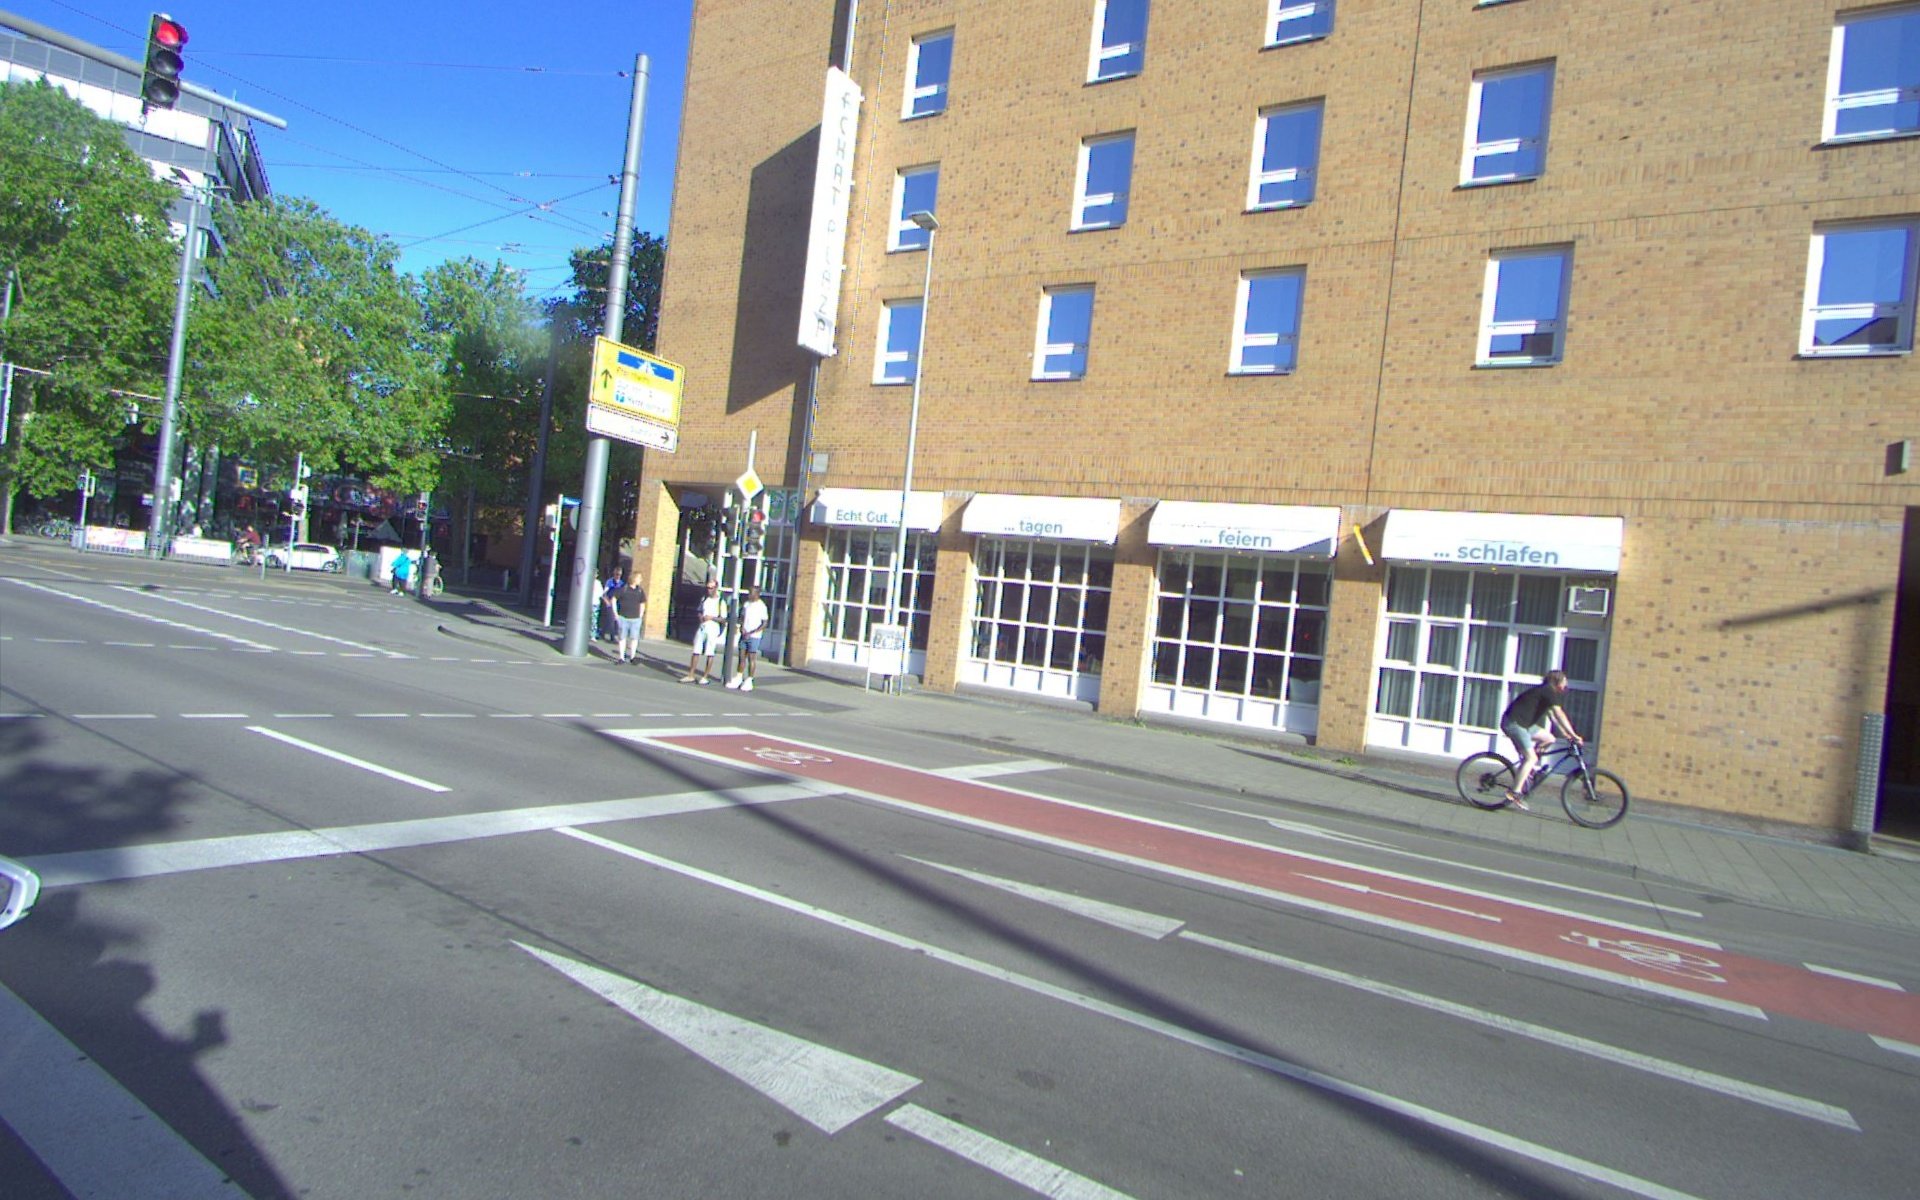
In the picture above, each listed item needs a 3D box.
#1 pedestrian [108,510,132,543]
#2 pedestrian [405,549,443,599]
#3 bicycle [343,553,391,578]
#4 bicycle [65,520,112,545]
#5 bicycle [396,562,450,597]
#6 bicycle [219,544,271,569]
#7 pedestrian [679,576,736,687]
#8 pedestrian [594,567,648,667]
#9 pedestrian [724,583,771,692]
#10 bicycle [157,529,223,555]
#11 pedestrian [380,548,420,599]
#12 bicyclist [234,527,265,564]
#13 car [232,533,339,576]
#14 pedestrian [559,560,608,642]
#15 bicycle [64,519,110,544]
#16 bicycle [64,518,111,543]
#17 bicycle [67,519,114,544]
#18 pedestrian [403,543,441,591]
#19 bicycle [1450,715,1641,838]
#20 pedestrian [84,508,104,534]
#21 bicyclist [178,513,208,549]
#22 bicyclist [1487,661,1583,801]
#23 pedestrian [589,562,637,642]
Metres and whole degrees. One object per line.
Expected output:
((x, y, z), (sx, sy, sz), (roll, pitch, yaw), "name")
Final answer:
((-50.847, -4.460, 60.914), (0.845, 1.873, 0.800), (10, -3, -44), "pedestrian")
((-18.071, -0.863, 33.923), (0.729, 1.557, 0.652), (6, -1, 24), "pedestrian")
((-35.876, -2.085, 60.892), (0.861, 1.250, 2.934), (7, -1, 5), "bicycle")
((-43.806, -3.400, 50.555), (0.386, 0.998, 1.700), (7, 0, 45), "bicycle")
((-19.494, -0.754, 36.497), (1.891, 1.064, 0.791), (6, -2, 32), "bicycle")
((-34.164, -2.073, 48.077), (0.642, 0.921, 1.854), (6, -1, 36), "bicycle")
((-4.393, 0.539, 17.520), (0.719, 1.857, 0.497), (5, 1, -3), "pedestrian")
((-6.414, 0.329, 19.054), (0.683, 1.789, 0.573), (7, 0, -9), "pedestrian")
((-3.656, 0.641, 17.286), (0.402, 1.797, 0.572), (4, 2, -44), "pedestrian")
((-45.643, -3.442, 59.655), (3.027, 1.126, 0.826), (8, -1, -39), "bicycle")
((-18.475, -0.880, 33.194), (0.729, 1.557, 0.677), (6, -1, 24), "pedestrian")
((-34.006, -2.605, 48.174), (0.627, 1.635, 0.926), (7, 0, 35), "bicyclist")
((-34.280, -2.284, 51.237), (1.969, 1.503, 3.991), (6, -3, 36), "car")
((-8.378, 0.030, 22.408), (0.648, 1.723, 0.562), (6, -2, 33), "pedestrian")
((-44.443, -3.493, 51.218), (0.386, 0.998, 1.700), (7, 0, 45), "bicycle")
((-44.150, -3.512, 50.898), (0.386, 0.998, 1.700), (7, 0, 45), "bicycle")
((-43.186, -3.380, 49.974), (0.386, 0.998, 1.700), (7, 0, 45), "bicycle")
((-19.561, -1.191, 36.580), (0.824, 1.612, 0.771), (6, -2, 31), "pedestrian")
((7.026, 2.084, 12.137), (1.851, 1.065, 0.600), (6, 4, 33), "bicycle")
((-55.806, -5.077, 64.836), (0.770, 1.545, 0.559), (6, 0, -31), "pedestrian")
((-45.508, -4.066, 59.694), (1.221, 1.955, 0.826), (7, 0, -39), "bicyclist")
((7.026, 1.572, 12.300), (0.836, 1.536, 0.578), (8, 5, 32), "bicyclist")
((-7.942, 0.046, 23.023), (0.593, 1.747, 0.603), (6, -1, 33), "pedestrian")
